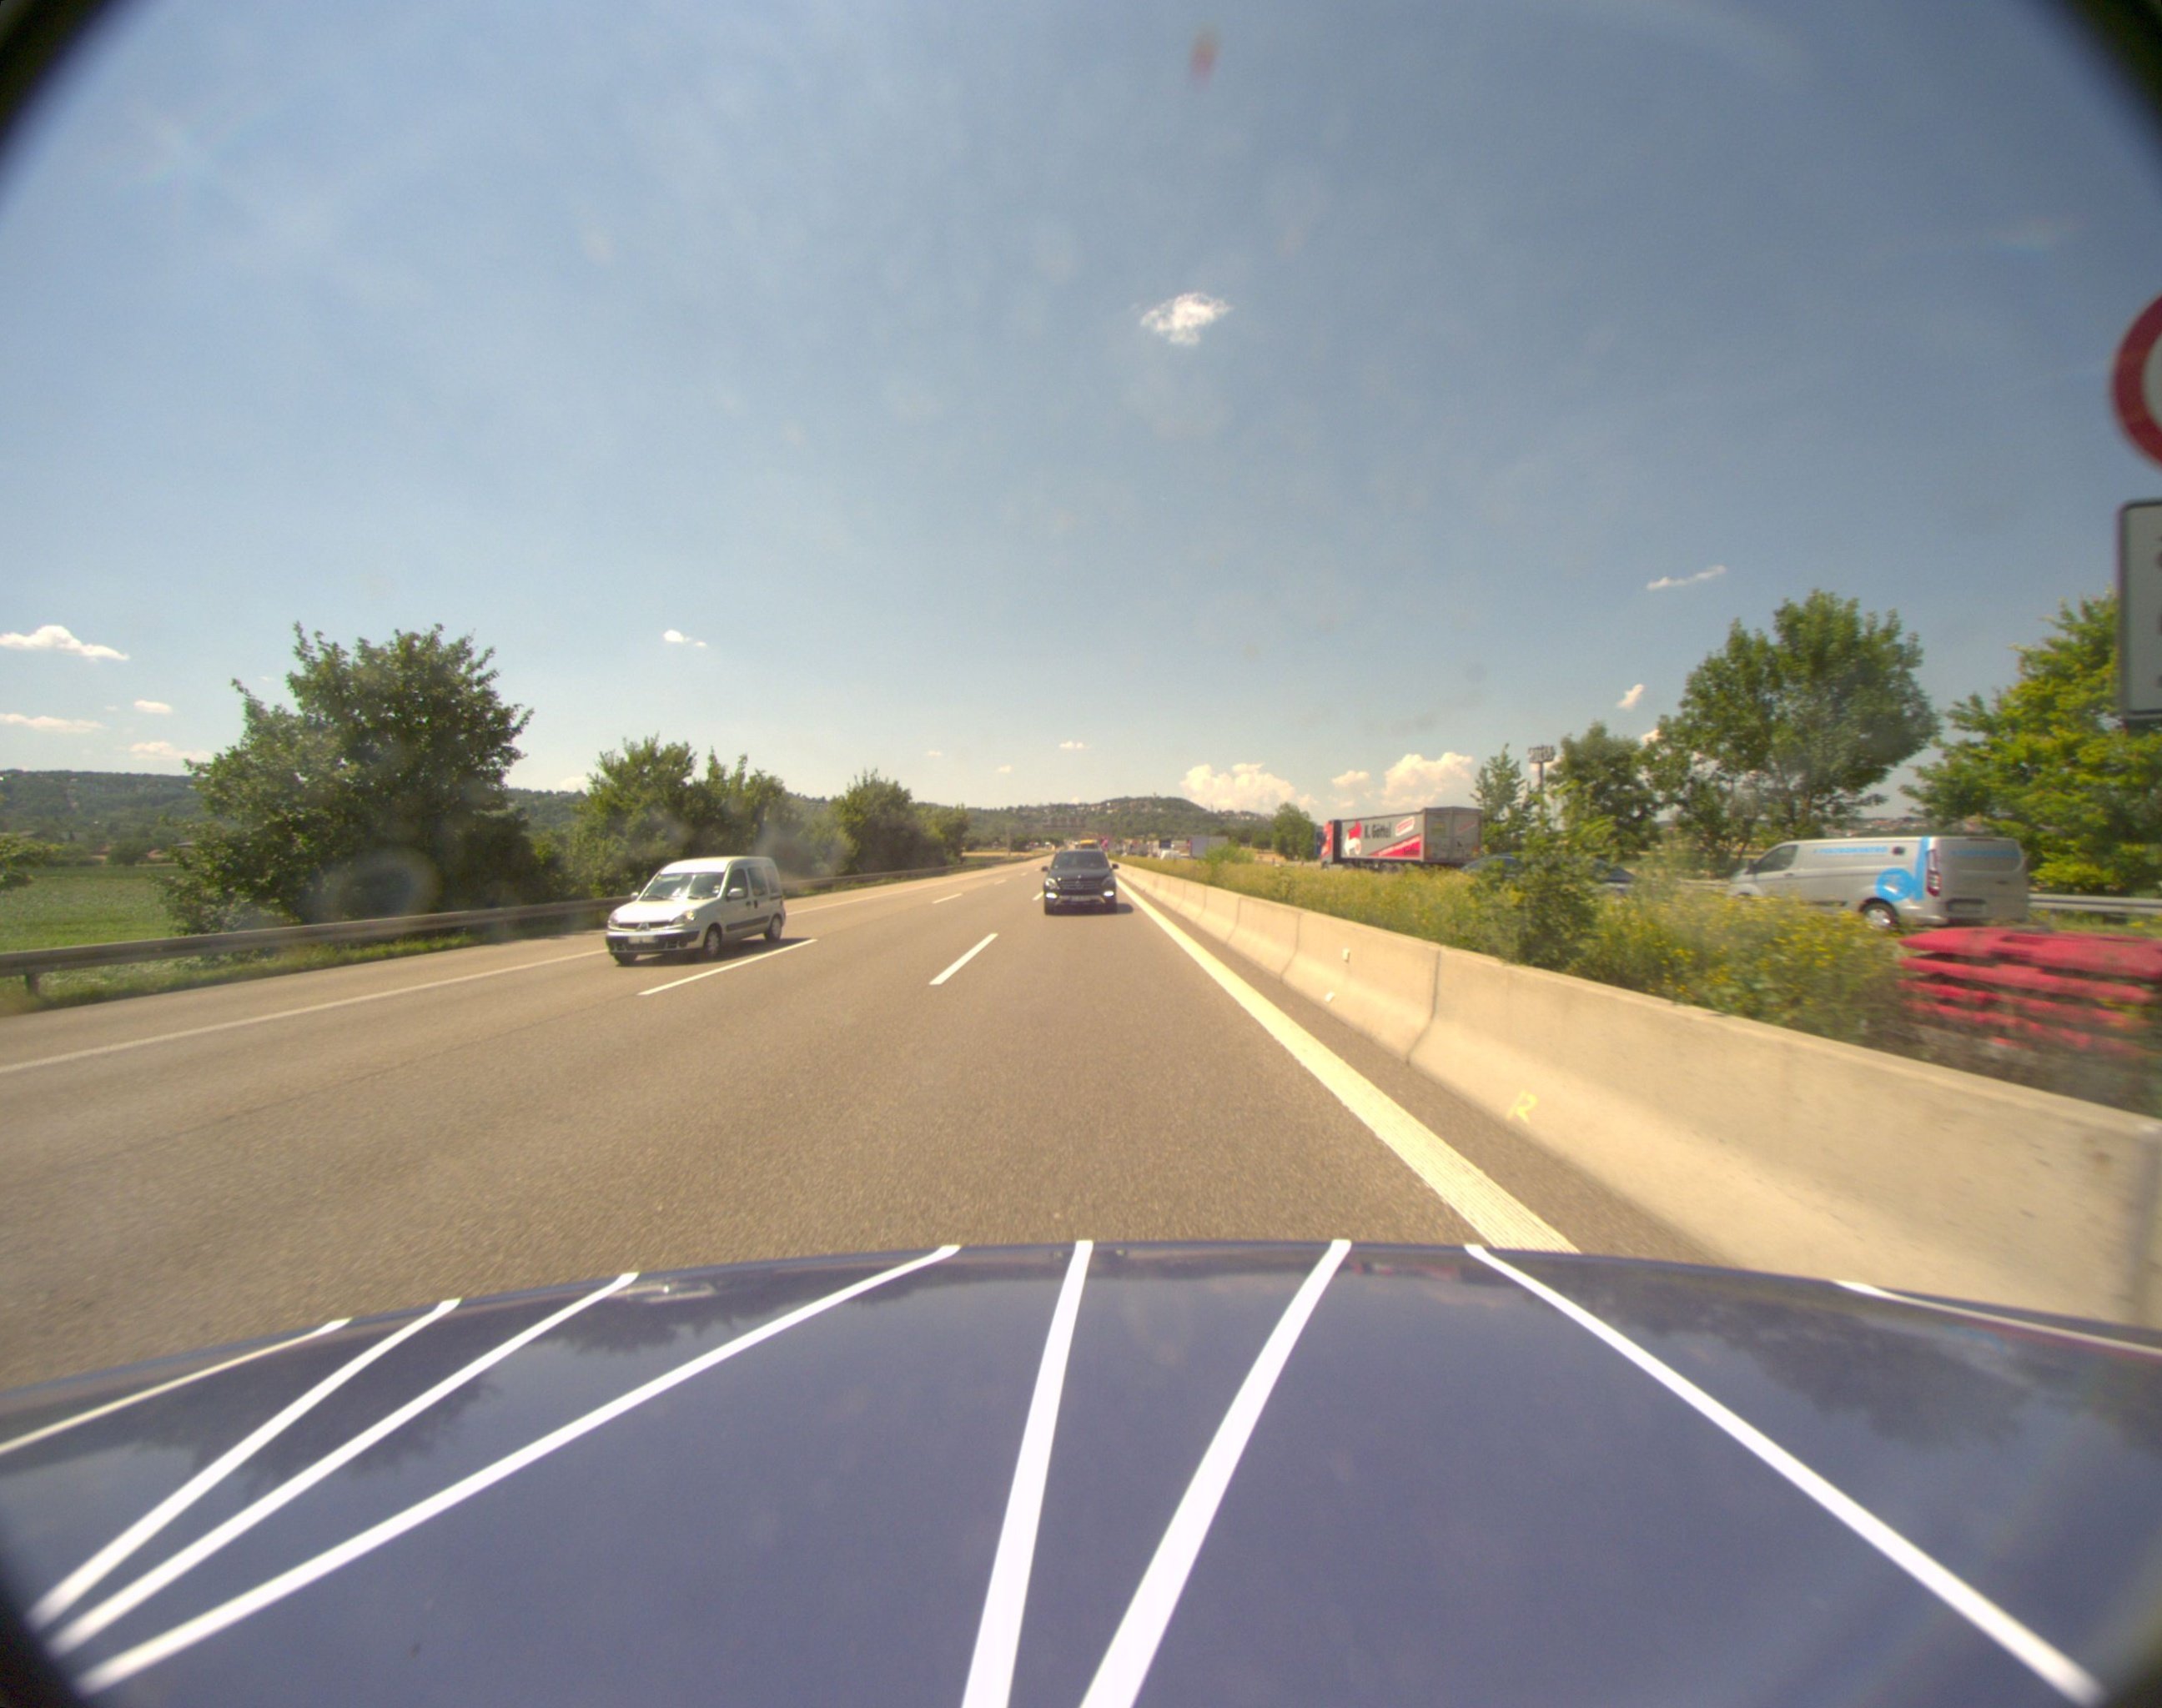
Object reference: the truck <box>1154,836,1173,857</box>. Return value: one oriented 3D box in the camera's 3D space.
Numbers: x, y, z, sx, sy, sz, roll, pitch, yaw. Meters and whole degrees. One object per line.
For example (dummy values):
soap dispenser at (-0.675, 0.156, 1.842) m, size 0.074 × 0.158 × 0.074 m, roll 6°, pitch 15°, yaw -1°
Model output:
truck at (17.607, -1.655, 163.376) m, size 2.599 × 4.214 × 14.121 m, roll 2°, pitch 1°, yaw 1°

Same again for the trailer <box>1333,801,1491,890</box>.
trailer at (16.329, -0.394, 38.909) m, size 2.863 × 3.833 × 12.184 m, roll 0°, pitch 0°, yaw 1°

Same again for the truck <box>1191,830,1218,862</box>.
truck at (17.014, -1.069, 105.250) m, size 2.872 × 4.325 × 5.585 m, roll 0°, pitch 1°, yaw 1°

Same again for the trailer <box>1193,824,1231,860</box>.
trailer at (16.897, -1.529, 98.856) m, size 2.890 × 4.325 × 13.642 m, roll 0°, pitch 0°, yaw 1°

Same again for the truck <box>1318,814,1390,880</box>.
truck at (16.380, -0.423, 45.852) m, size 2.863 × 3.833 × 4.000 m, roll 0°, pitch 1°, yaw 0°

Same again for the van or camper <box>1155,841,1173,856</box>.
van or camper at (12.772, -0.880, 117.117) m, size 2.099 × 2.261 × 5.493 m, roll -1°, pitch 0°, yaw 0°

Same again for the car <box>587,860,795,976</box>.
car at (-6.907, 1.031, 13.975) m, size 1.630 × 1.727 × 3.972 m, roll -2°, pitch 0°, yaw 1°

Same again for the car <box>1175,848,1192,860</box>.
car at (13.017, -0.022, 96.762) m, size 1.621 × 1.455 × 3.864 m, roll -1°, pitch 0°, yaw 0°

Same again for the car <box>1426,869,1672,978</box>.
car at (8.299, 1.126, 14.106) m, size 1.766 × 1.541 × 4.727 m, roll -1°, pitch 0°, yaw 2°

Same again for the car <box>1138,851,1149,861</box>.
car at (9.613, 0.255, 117.573) m, size 1.388 × 1.460 × 3.195 m, roll -1°, pitch 0°, yaw 0°

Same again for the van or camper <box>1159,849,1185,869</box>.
van or camper at (9.258, 0.466, 77.448) m, size 1.998 × 1.922 × 5.201 m, roll -1°, pitch 0°, yaw 0°

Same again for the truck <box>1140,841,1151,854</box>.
truck at (18.423, -1.807, 218.422) m, size 2.706 × 3.599 × 8.786 m, roll 1°, pitch 1°, yaw 2°

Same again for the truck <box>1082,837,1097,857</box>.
truck at (1.503, -1.211, 128.468) m, size 2.272 × 3.139 × 8.185 m, roll -2°, pitch 2°, yaw 1°

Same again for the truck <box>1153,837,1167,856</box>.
truck at (17.666, -1.747, 170.320) m, size 2.599 × 4.214 × 4.853 m, roll 2°, pitch 1°, yaw 1°

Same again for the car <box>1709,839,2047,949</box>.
car at (16.386, 0.707, 16.172) m, size 1.766 × 1.941 × 5.117 m, roll 1°, pitch 0°, yaw 0°

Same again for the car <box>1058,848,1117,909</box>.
car at (0.226, 0.700, 23.560) m, size 1.630 × 1.711 × 3.864 m, roll -1°, pitch 0°, yaw 1°

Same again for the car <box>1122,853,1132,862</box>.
car at (10.041, 0.734, 165.736) m, size 1.998 × 1.934 × 4.794 m, roll -1°, pitch 1°, yaw 0°
